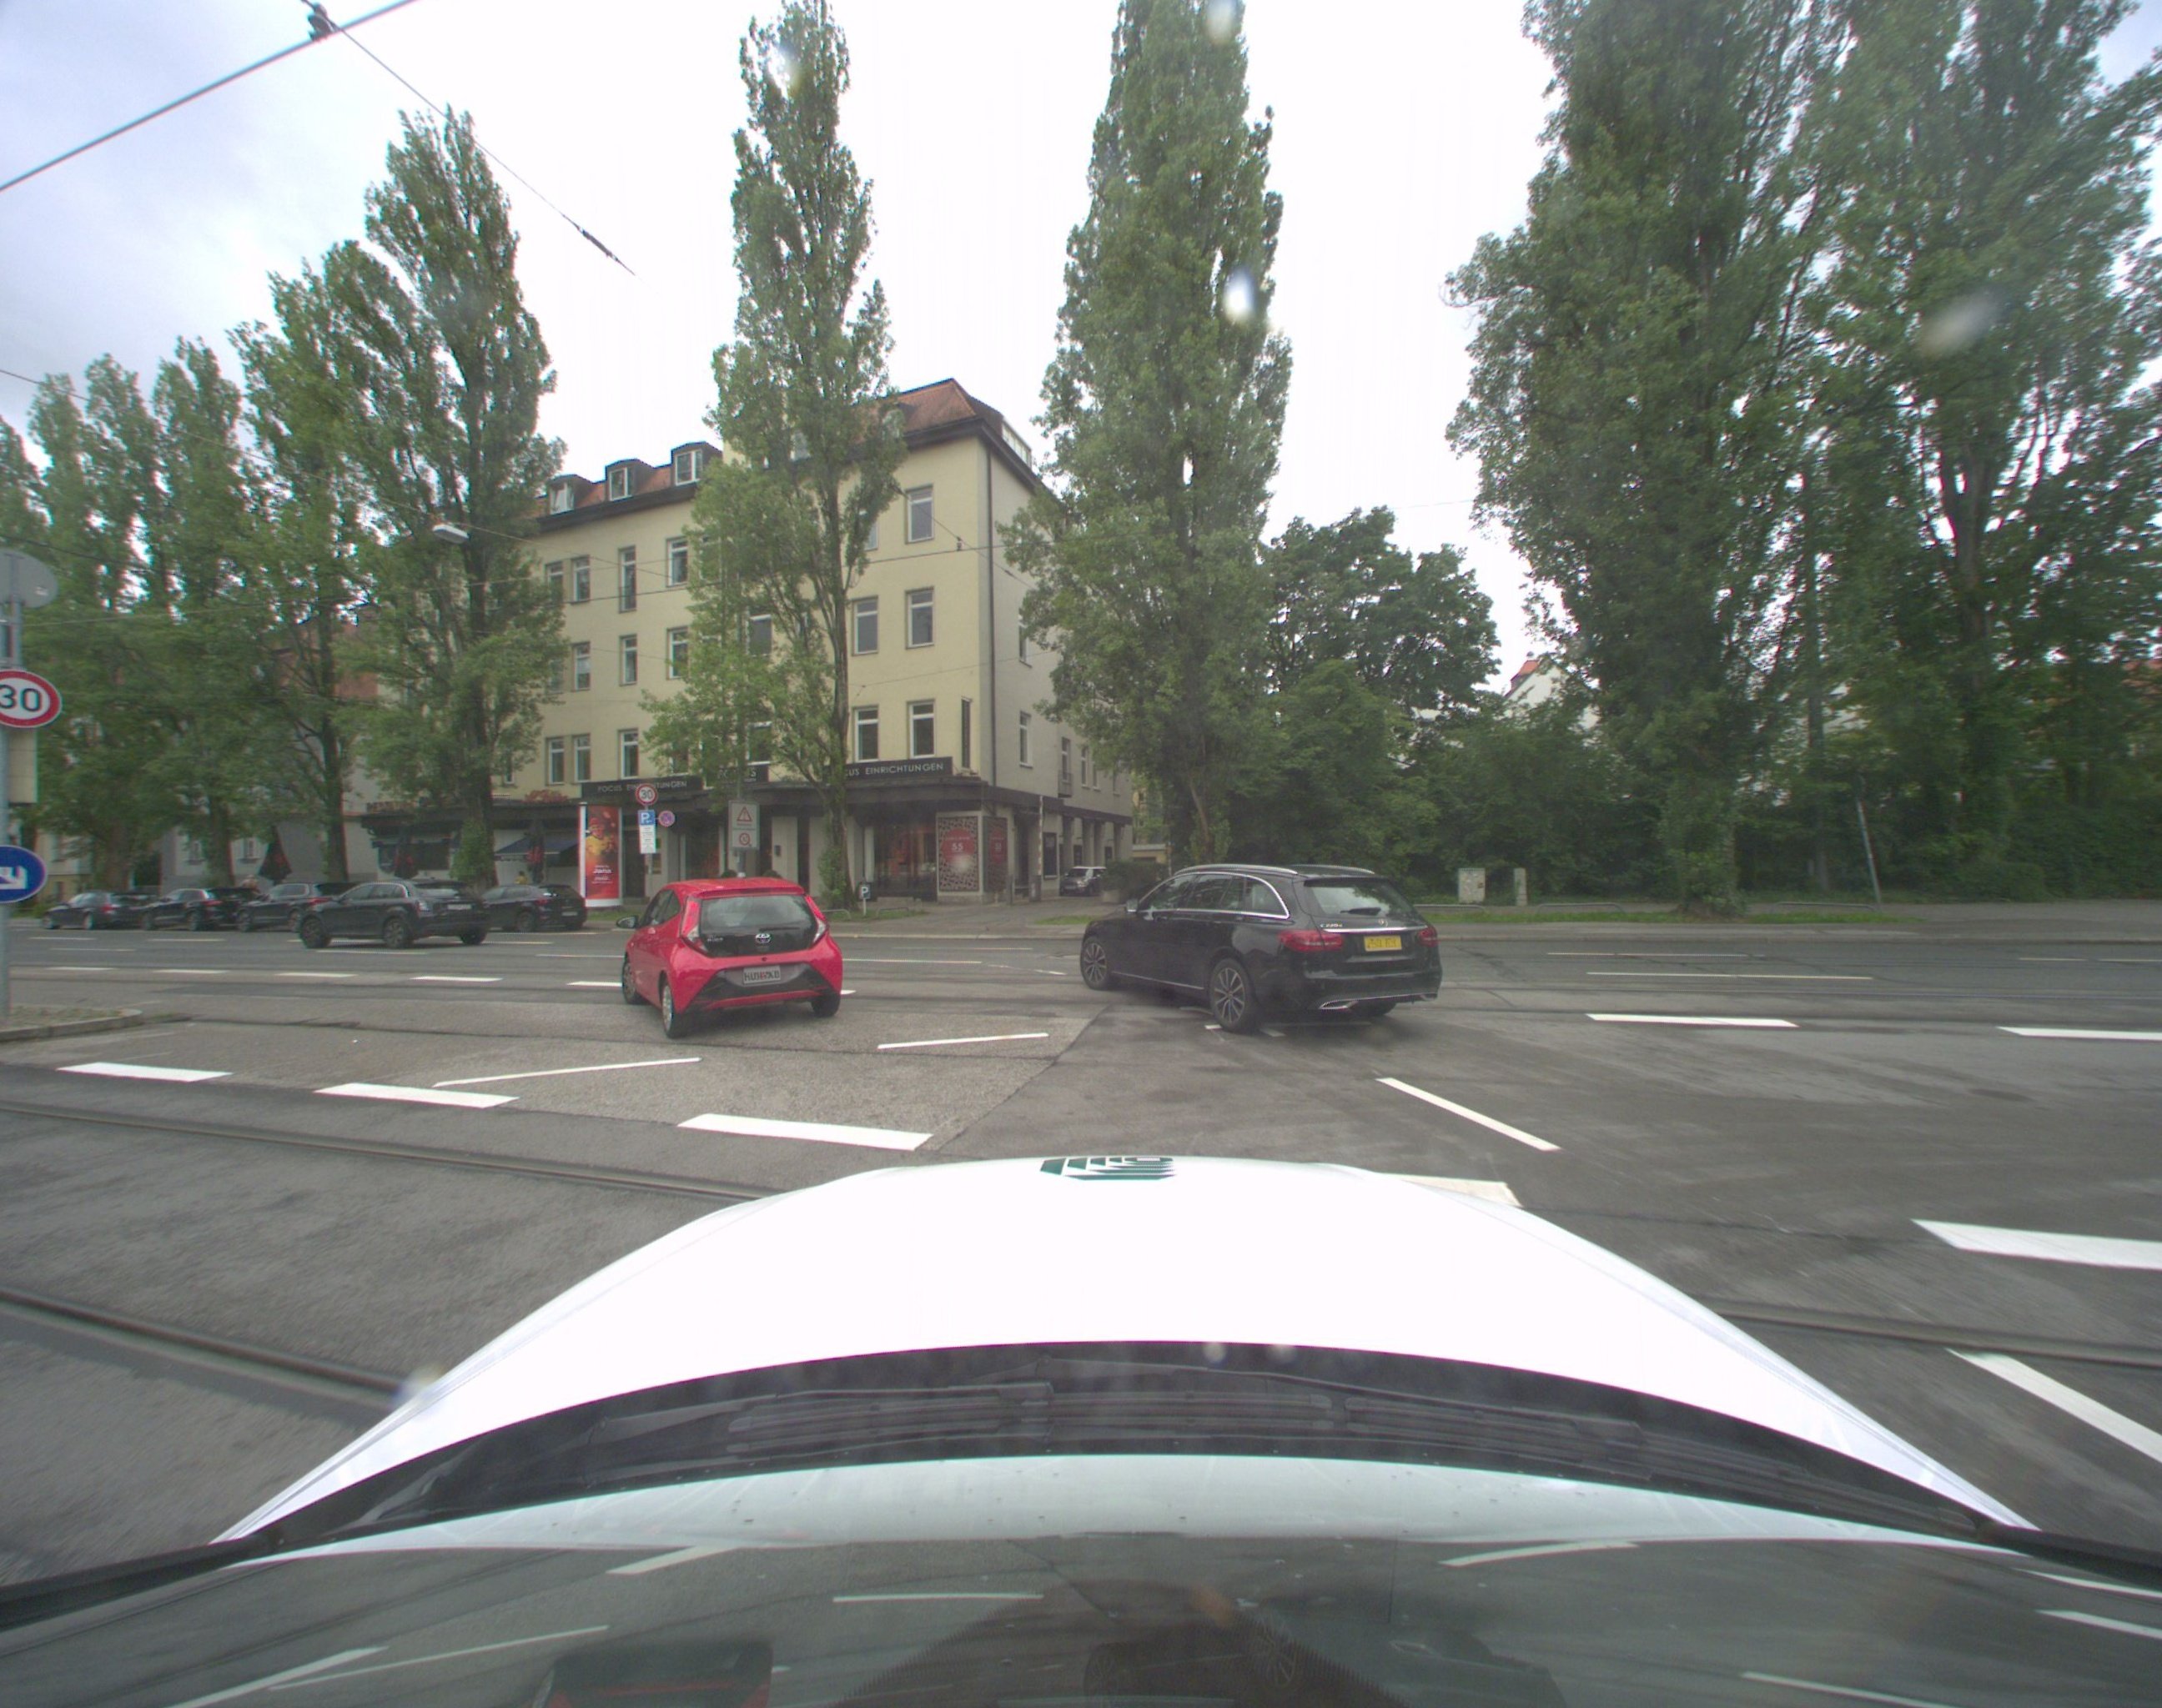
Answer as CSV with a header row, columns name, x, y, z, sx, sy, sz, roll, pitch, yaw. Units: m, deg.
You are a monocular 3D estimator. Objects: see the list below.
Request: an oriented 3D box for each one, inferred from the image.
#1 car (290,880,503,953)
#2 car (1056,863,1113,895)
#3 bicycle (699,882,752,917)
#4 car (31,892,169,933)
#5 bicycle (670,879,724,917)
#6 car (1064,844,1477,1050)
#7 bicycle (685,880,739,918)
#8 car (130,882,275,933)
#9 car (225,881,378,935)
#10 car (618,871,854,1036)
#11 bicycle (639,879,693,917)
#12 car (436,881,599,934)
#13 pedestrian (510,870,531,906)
name,x,y,z,sx,sy,sz,roll,pitch,yaw
car,-15.413,1.387,18.383,3.956,1.486,1.794,-2,-1,17
car,0.211,1.174,39.697,1.712,1.442,4.017,-1,-1,16
bicycle,-11.777,1.493,27.047,0.491,1.082,1.897,-1,-1,16
car,-36.458,2.156,30.283,4.332,1.398,1.814,-1,-1,18
bicycle,-12.921,1.477,27.462,0.491,1.185,1.897,-1,-1,16
car,1.575,0.708,8.682,1.872,1.549,4.666,-1,0,-24
bicycle,-12.288,1.481,27.165,0.491,1.185,1.897,-1,-1,16
car,-30.772,1.859,28.535,4.256,1.612,1.814,-1,-1,18
car,-25.568,1.753,26.713,4.420,1.612,1.735,-1,-1,18
car,-3.933,0.939,9.001,1.641,1.440,3.338,1,-2,-37
bicycle,-14.192,1.493,27.903,0.491,1.185,1.897,-1,-1,16
car,-16.651,1.572,24.106,3.957,1.466,1.812,-1,-1,15
pedestrian,-24.839,1.498,36.096,0.490,1.562,0.577,0,-1,20
